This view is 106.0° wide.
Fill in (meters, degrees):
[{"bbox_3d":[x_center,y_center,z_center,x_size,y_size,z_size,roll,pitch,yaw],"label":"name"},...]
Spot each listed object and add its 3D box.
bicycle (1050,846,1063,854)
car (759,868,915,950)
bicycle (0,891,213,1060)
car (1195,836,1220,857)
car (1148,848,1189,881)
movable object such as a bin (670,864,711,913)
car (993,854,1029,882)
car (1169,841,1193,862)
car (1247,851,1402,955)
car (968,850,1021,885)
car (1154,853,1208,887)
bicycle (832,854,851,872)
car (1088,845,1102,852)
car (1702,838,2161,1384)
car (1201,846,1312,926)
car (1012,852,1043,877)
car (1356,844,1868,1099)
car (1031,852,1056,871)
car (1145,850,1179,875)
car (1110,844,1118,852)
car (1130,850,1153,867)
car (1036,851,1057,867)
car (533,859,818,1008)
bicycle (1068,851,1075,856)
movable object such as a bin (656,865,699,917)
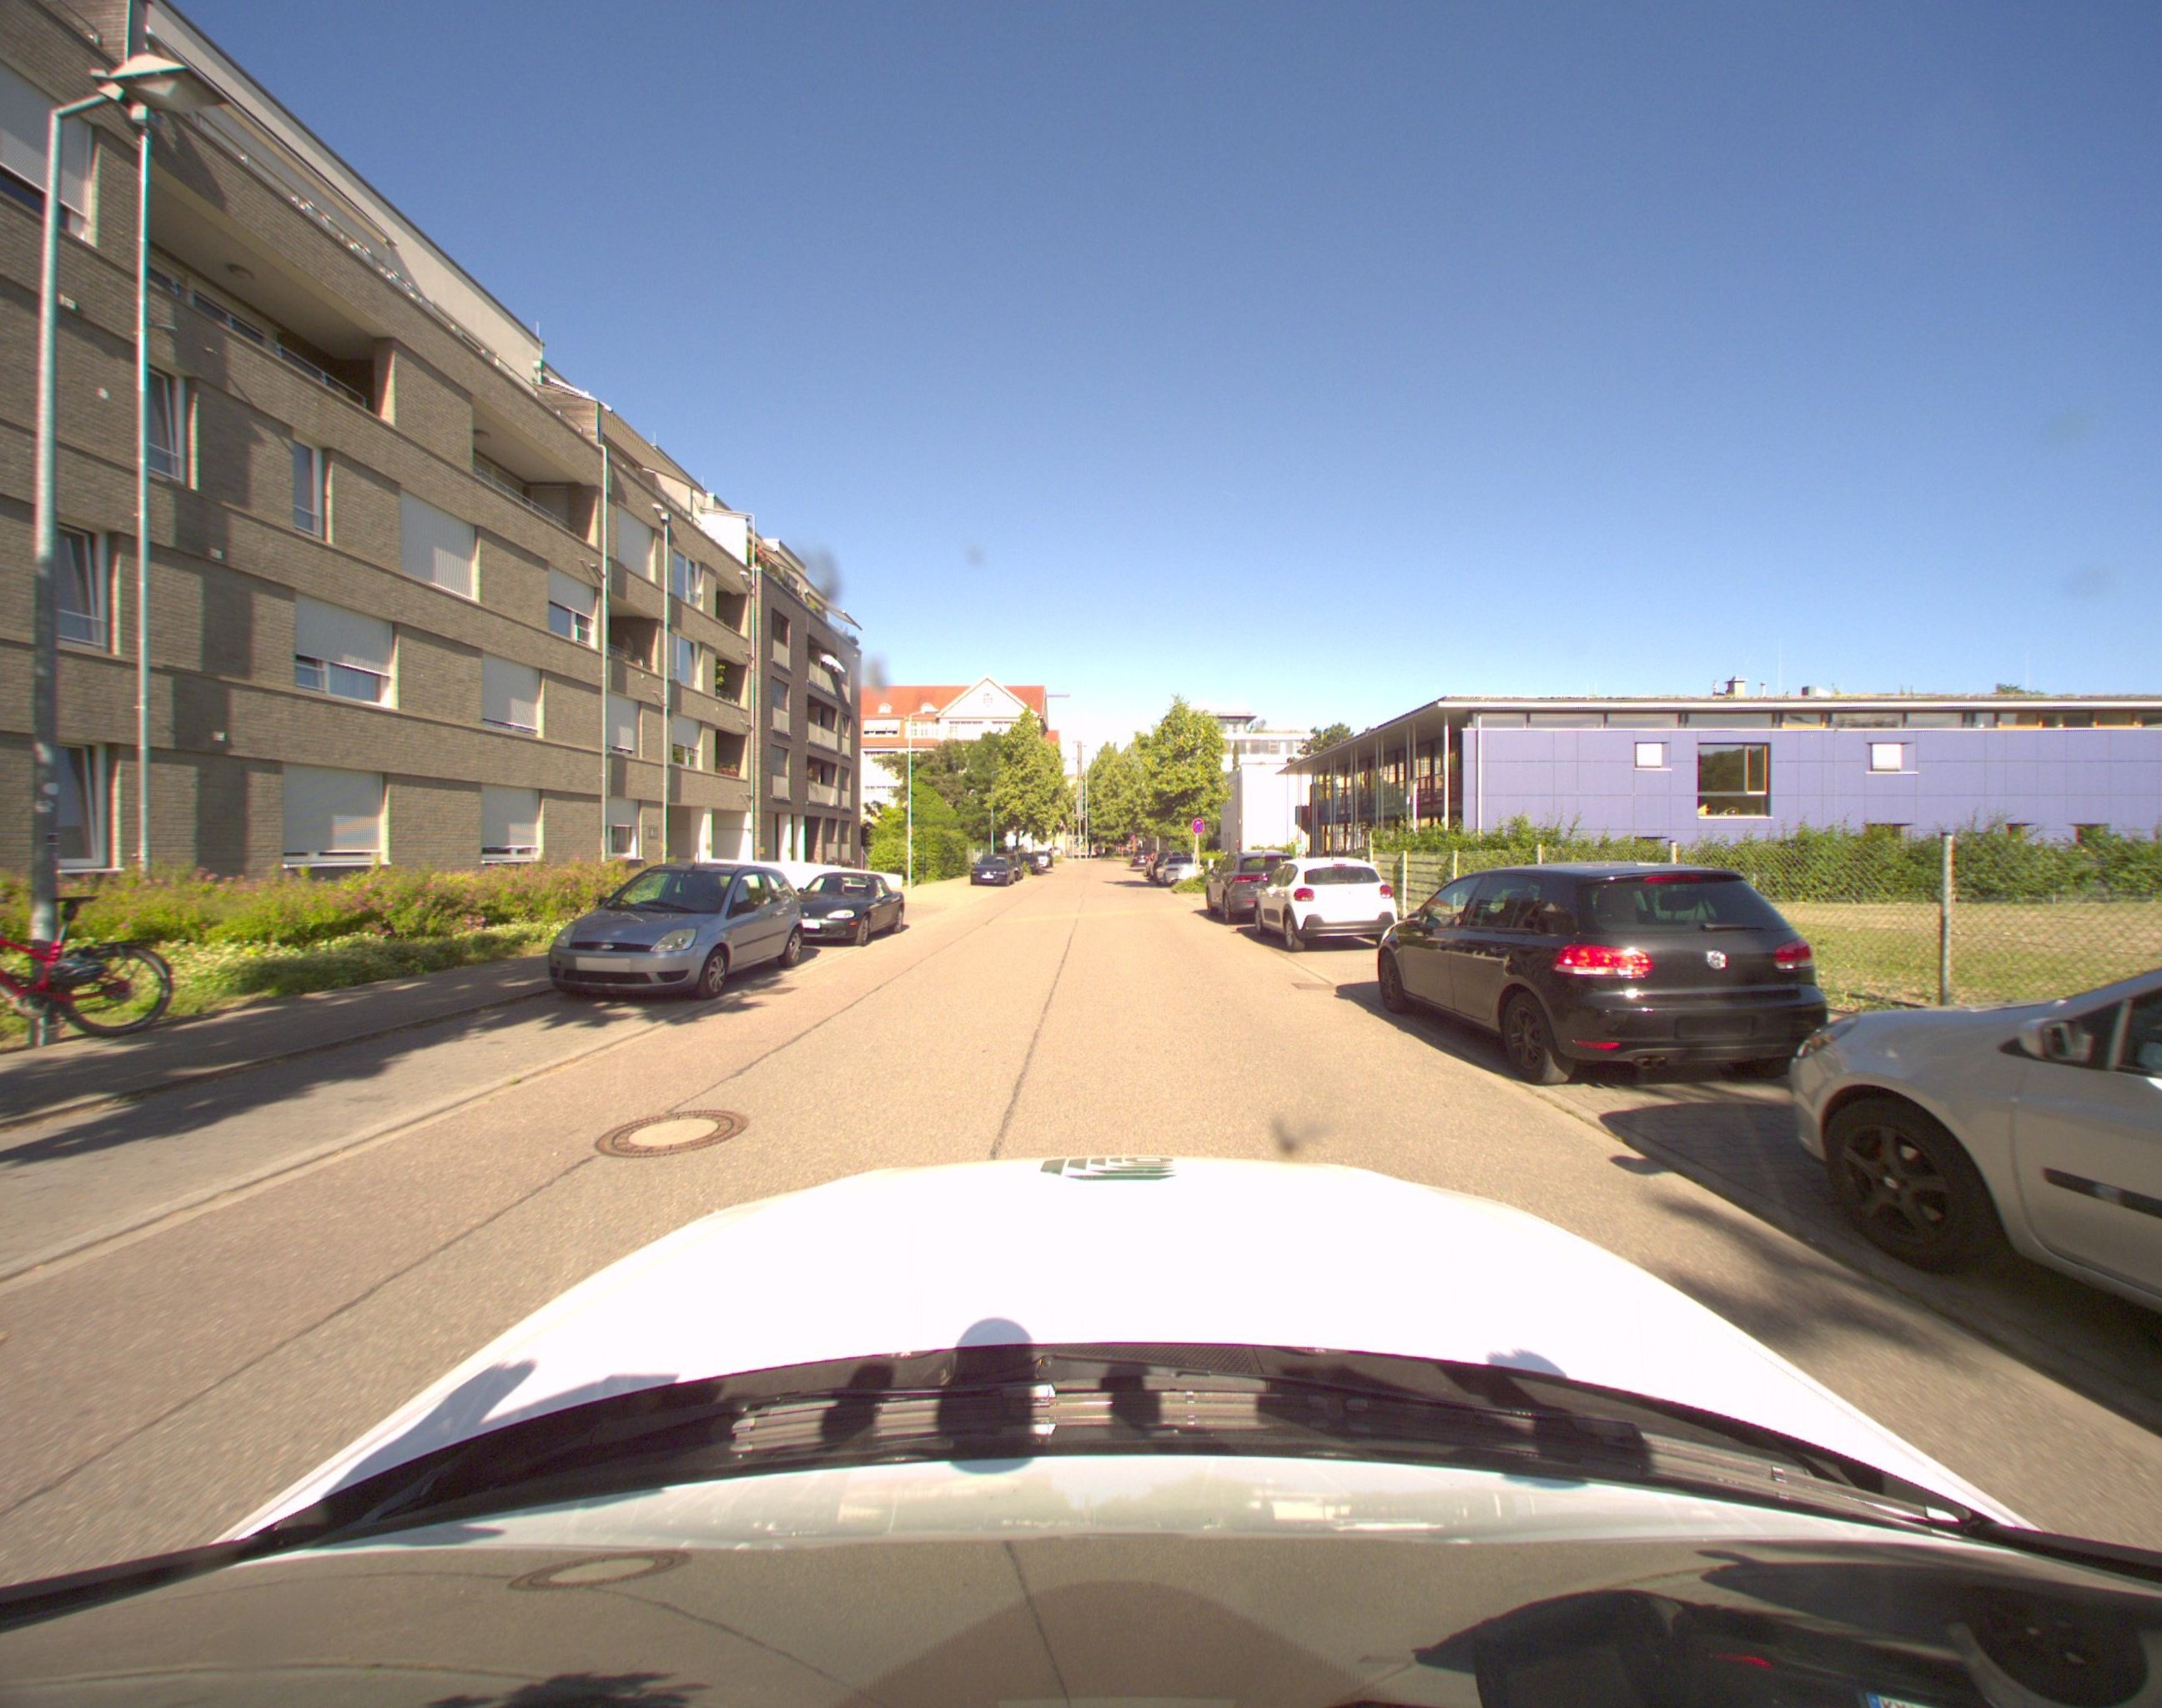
[{"bbox_3d":[-2.826,-0.467,92.782,1.464,0.842,0.335,0,1,-3],"label":"bicycle"},{"bbox_3d":[-4.408,0.936,15.336,1.593,1.217,3.877,2,0,2],"label":"car"},{"bbox_3d":[-7.663,0.879,5.955,0.282,1.124,1.989,0,0,8],"label":"bicycle"},{"bbox_3d":[12.561,-0.720,81.067,1.986,2.013,4.001,0,0,1],"label":"car"},{"bbox_3d":[4.817,0.550,45.287,1.815,1.718,4.120,-3,0,1],"label":"car"},{"bbox_3d":[-8.844,0.777,18.464,0.605,1.083,0.636,0,1,0],"label":"movable object such as a bin"},{"bbox_3d":[-3.896,0.728,45.571,1.624,1.501,3.578,0,0,1],"label":"car"},{"bbox_3d":[9.935,-0.208,81.011,2.016,2.013,4.001,0,0,1],"label":"car"},{"bbox_3d":[4.158,0.759,14.518,1.674,1.542,3.850,0,1,1],"label":"car"},{"bbox_3d":[-4.069,0.627,38.859,1.753,1.527,4.005,2,0,5],"label":"car"},{"bbox_3d":[4.616,0.732,38.136,1.825,1.422,4.230,-3,0,-2],"label":"car"},{"bbox_3d":[-11.256,0.414,38.351,0.252,0.837,1.776,0,1,4],"label":"bicycle"},{"bbox_3d":[3.853,-1.441,223.714,3.971,2.013,2.001,0,1,2],"label":"car"},{"bbox_3d":[3.815,0.719,1.982,1.656,1.512,4.002,0,1,2],"label":"car"},{"bbox_3d":[4.074,0.679,19.604,1.720,1.652,4.326,-2,0,0],"label":"car"},{"bbox_3d":[-3.559,0.673,54.777,1.688,1.605,3.943,0,0,1],"label":"car"},{"bbox_3d":[3.807,0.708,6.825,1.681,1.494,4.078,0,-1,1],"label":"car"},{"bbox_3d":[-3.097,0.591,68.011,1.771,1.530,4.001,0,0,1],"label":"car"},{"bbox_3d":[5.042,0.500,51.290,1.828,1.516,3.881,0,0,1],"label":"car"},{"bbox_3d":[9.067,-1.630,224.992,1.986,2.013,4.002,0,1,2],"label":"car"},{"bbox_3d":[5.511,0.360,74.590,1.986,1.486,4.001,0,0,1],"label":"car"},{"bbox_3d":[-3.098,0.438,73.513,1.694,1.470,3.462,0,0,1],"label":"car"},{"bbox_3d":[-4.729,0.820,10.183,1.606,1.465,3.874,0,0,0],"label":"car"},{"bbox_3d":[-1.331,-0.065,112.717,0.375,0.683,1.068,-1,1,-35],"label":"bicycle"},{"bbox_3d":[-8.762,0.790,17.713,0.605,1.090,0.636,0,1,0],"label":"movable object such as a bin"}]
